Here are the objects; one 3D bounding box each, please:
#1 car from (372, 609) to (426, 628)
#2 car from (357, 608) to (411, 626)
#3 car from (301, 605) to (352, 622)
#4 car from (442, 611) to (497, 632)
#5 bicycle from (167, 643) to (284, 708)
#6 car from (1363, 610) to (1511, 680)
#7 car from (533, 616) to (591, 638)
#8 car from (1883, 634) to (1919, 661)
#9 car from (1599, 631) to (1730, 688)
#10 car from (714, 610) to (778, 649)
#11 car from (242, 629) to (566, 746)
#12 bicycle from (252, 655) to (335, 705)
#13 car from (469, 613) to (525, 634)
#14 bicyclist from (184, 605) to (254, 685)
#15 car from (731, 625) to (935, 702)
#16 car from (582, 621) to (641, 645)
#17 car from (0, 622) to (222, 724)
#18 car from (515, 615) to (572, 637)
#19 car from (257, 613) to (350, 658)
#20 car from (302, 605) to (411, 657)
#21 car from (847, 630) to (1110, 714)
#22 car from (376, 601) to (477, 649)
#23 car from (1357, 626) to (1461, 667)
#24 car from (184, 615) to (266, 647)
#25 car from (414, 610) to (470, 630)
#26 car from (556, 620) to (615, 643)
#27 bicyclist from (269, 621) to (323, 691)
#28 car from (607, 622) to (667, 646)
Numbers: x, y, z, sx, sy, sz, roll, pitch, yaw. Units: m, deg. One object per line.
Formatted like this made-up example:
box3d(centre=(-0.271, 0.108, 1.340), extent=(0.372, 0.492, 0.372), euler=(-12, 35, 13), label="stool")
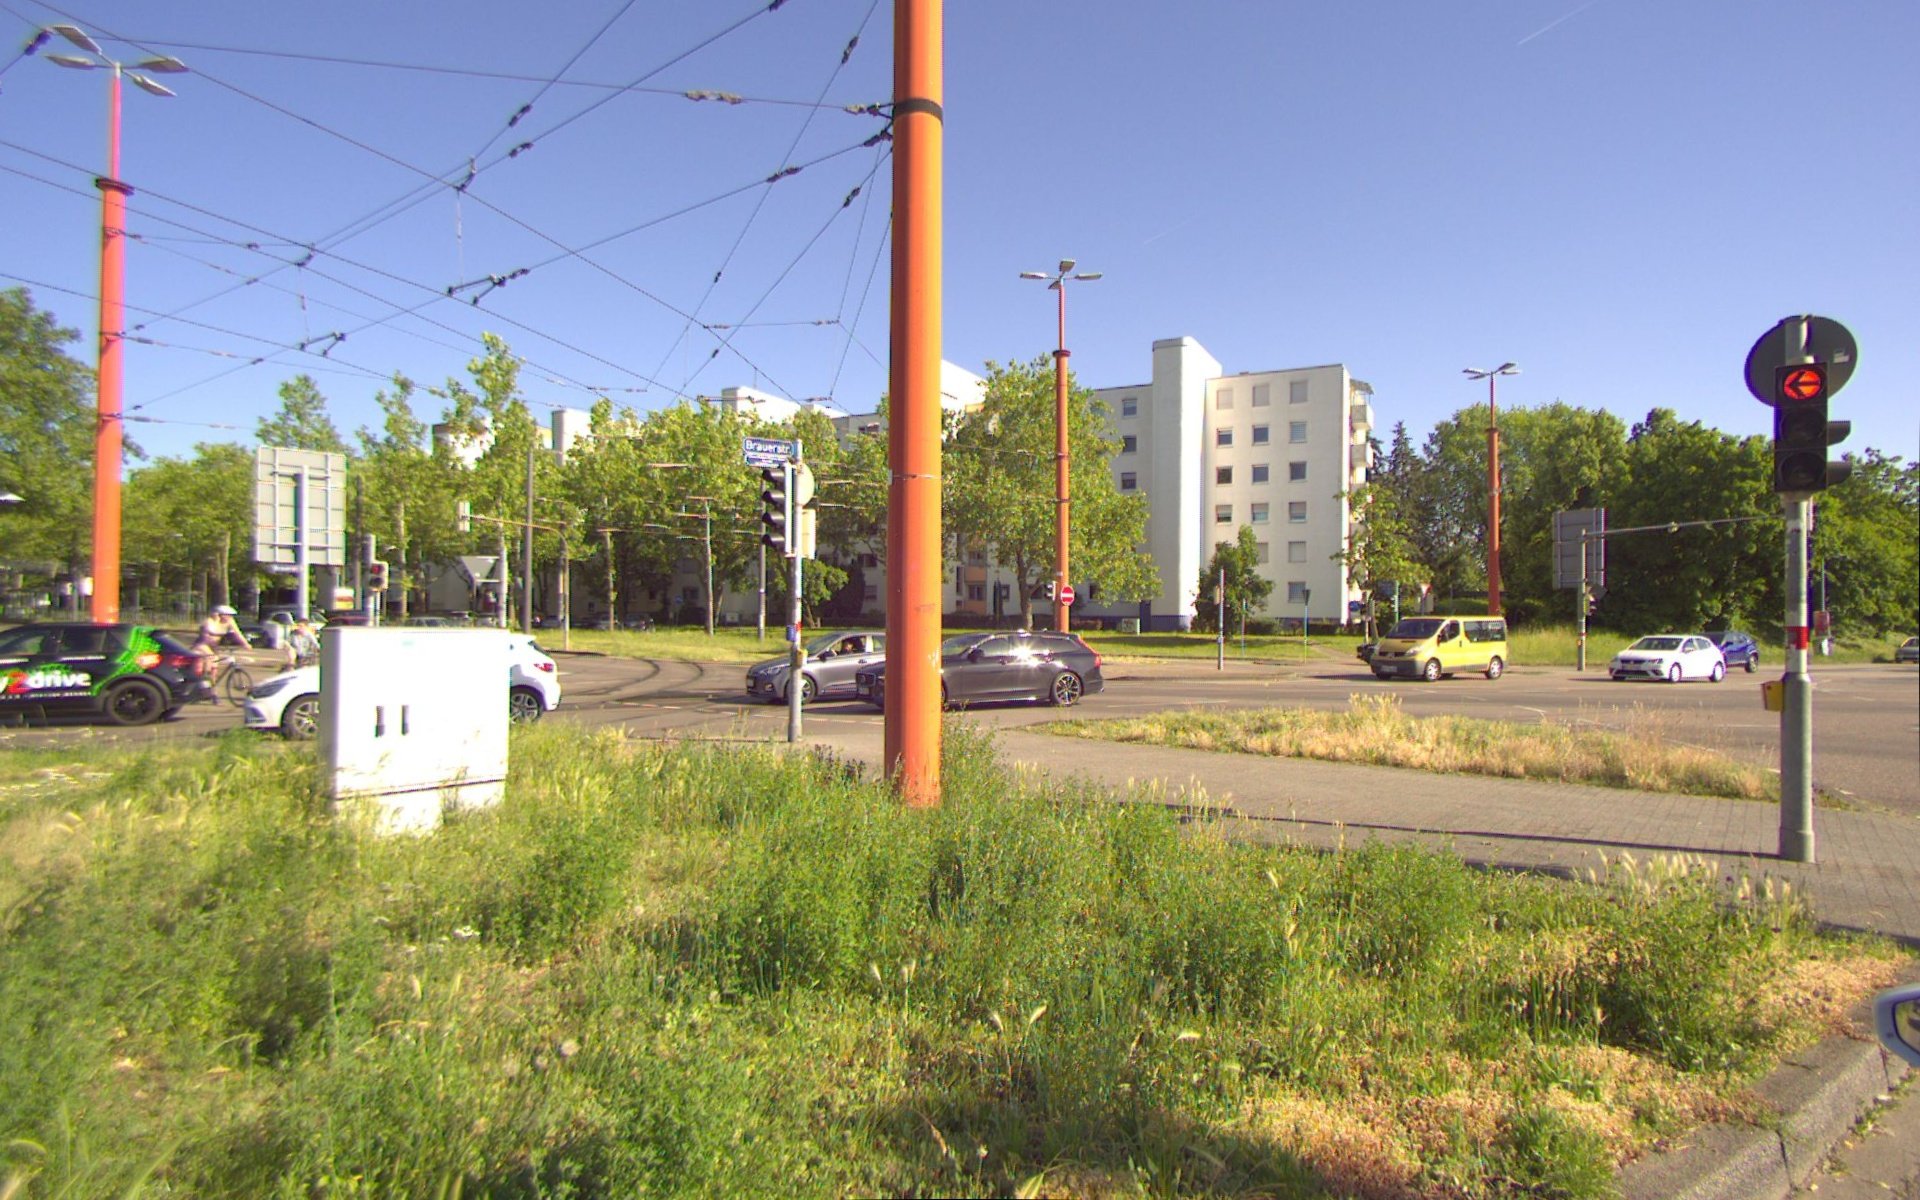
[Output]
box3d(centre=(-51.014, 1.641, 91.385), extent=(3.934, 1.617, 1.890), euler=(2, 0, -15), label="car")
box3d(centre=(-53.687, 1.588, 93.665), extent=(3.934, 1.617, 1.890), euler=(2, 0, -15), label="car")
box3d(centre=(-63.558, 1.377, 100.827), extent=(3.934, 1.617, 1.890), euler=(2, 0, -15), label="car")
box3d(centre=(-41.779, 1.848, 85.647), extent=(3.934, 1.617, 1.890), euler=(2, 0, -15), label="car")
box3d(centre=(-13.963, 1.416, 19.080), extent=(2.313, 1.095, 0.474), euler=(1, 0, 17), label="bicycle")
box3d(centre=(14.939, 1.397, 31.390), extent=(4.730, 2.013, 1.750), euler=(2, 0, -29), label="car")
box3d(centre=(-30.795, 2.083, 77.760), extent=(3.934, 1.617, 1.890), euler=(2, 0, -15), label="car")
box3d(centre=(55.341, 2.738, 58.307), extent=(3.661, 1.468, 1.524), euler=(2, 0, -30), label="car")
box3d(centre=(21.814, 1.834, 31.081), extent=(3.950, 1.617, 1.697), euler=(2, 0, -28), label="car")
box3d(centre=(-13.860, 1.902, 65.034), extent=(3.934, 2.341, 1.889), euler=(2, 0, -15), label="car")
box3d(centre=(-7.922, 1.189, 14.612), extent=(3.903, 1.478, 1.598), euler=(1, -1, -30), label="car")
box3d(centre=(-13.210, 1.572, 19.905), extent=(1.593, 0.894, 0.368), euler=(1, 0, 13), label="bicycle")
box3d(centre=(-38.579, 1.920, 83.765), extent=(3.934, 1.617, 1.890), euler=(2, 0, -15), label="car")
box3d(centre=(-14.083, 0.841, 19.099), extent=(0.742, 1.449, 0.752), euler=(1, 0, 17), label="bicyclist")
box3d(centre=(-2.661, 1.299, 21.247), extent=(3.952, 1.484, 1.688), euler=(1, -1, -30), label="car")
box3d(centre=(-25.690, 2.408, 74.213), extent=(3.934, 1.617, 1.890), euler=(2, 0, -15), label="car")
box3d(centre=(-13.761, 1.085, 15.279), extent=(3.838, 1.452, 1.538), euler=(2, -3, -29), label="car")
box3d(centre=(-32.875, 2.040, 79.405), extent=(3.934, 1.617, 1.890), euler=(2, 0, -15), label="car")
box3d(centre=(-28.940, 1.529, 44.276), extent=(3.929, 1.773, 1.909), euler=(1, 0, 31), label="car")
box3d(centre=(-24.304, 1.218, 40.440), extent=(4.200, 1.926, 1.996), euler=(1, 0, 31), label="car")
box3d(centre=(0.399, 1.290, 18.744), extent=(4.737, 1.386, 1.622), euler=(1, -1, -29), label="car")
box3d(centre=(-23.154, 1.057, 43.568), extent=(4.200, 1.926, 1.996), euler=(1, 0, 31), label="car")
box3d(centre=(20.575, 2.112, 46.190), extent=(3.919, 1.660, 2.001), euler=(2, 0, 8), label="car")
box3d(centre=(-34.696, 1.430, 47.380), extent=(3.929, 1.339, 1.732), euler=(1, 0, 31), label="car")
box3d(centre=(-45.149, 1.771, 87.622), extent=(3.934, 1.617, 1.890), euler=(2, 0, -15), label="car")
box3d(centre=(-28.154, 2.353, 75.674), extent=(3.934, 1.617, 1.890), euler=(2, 0, -15), label="car")
box3d(centre=(-13.130, 1.097, 19.878), extent=(0.686, 1.340, 0.549), euler=(1, 0, 14), label="bicyclist")
box3d(centre=(-23.201, 2.460, 72.234), extent=(3.934, 1.617, 1.890), euler=(2, 0, -15), label="car")
